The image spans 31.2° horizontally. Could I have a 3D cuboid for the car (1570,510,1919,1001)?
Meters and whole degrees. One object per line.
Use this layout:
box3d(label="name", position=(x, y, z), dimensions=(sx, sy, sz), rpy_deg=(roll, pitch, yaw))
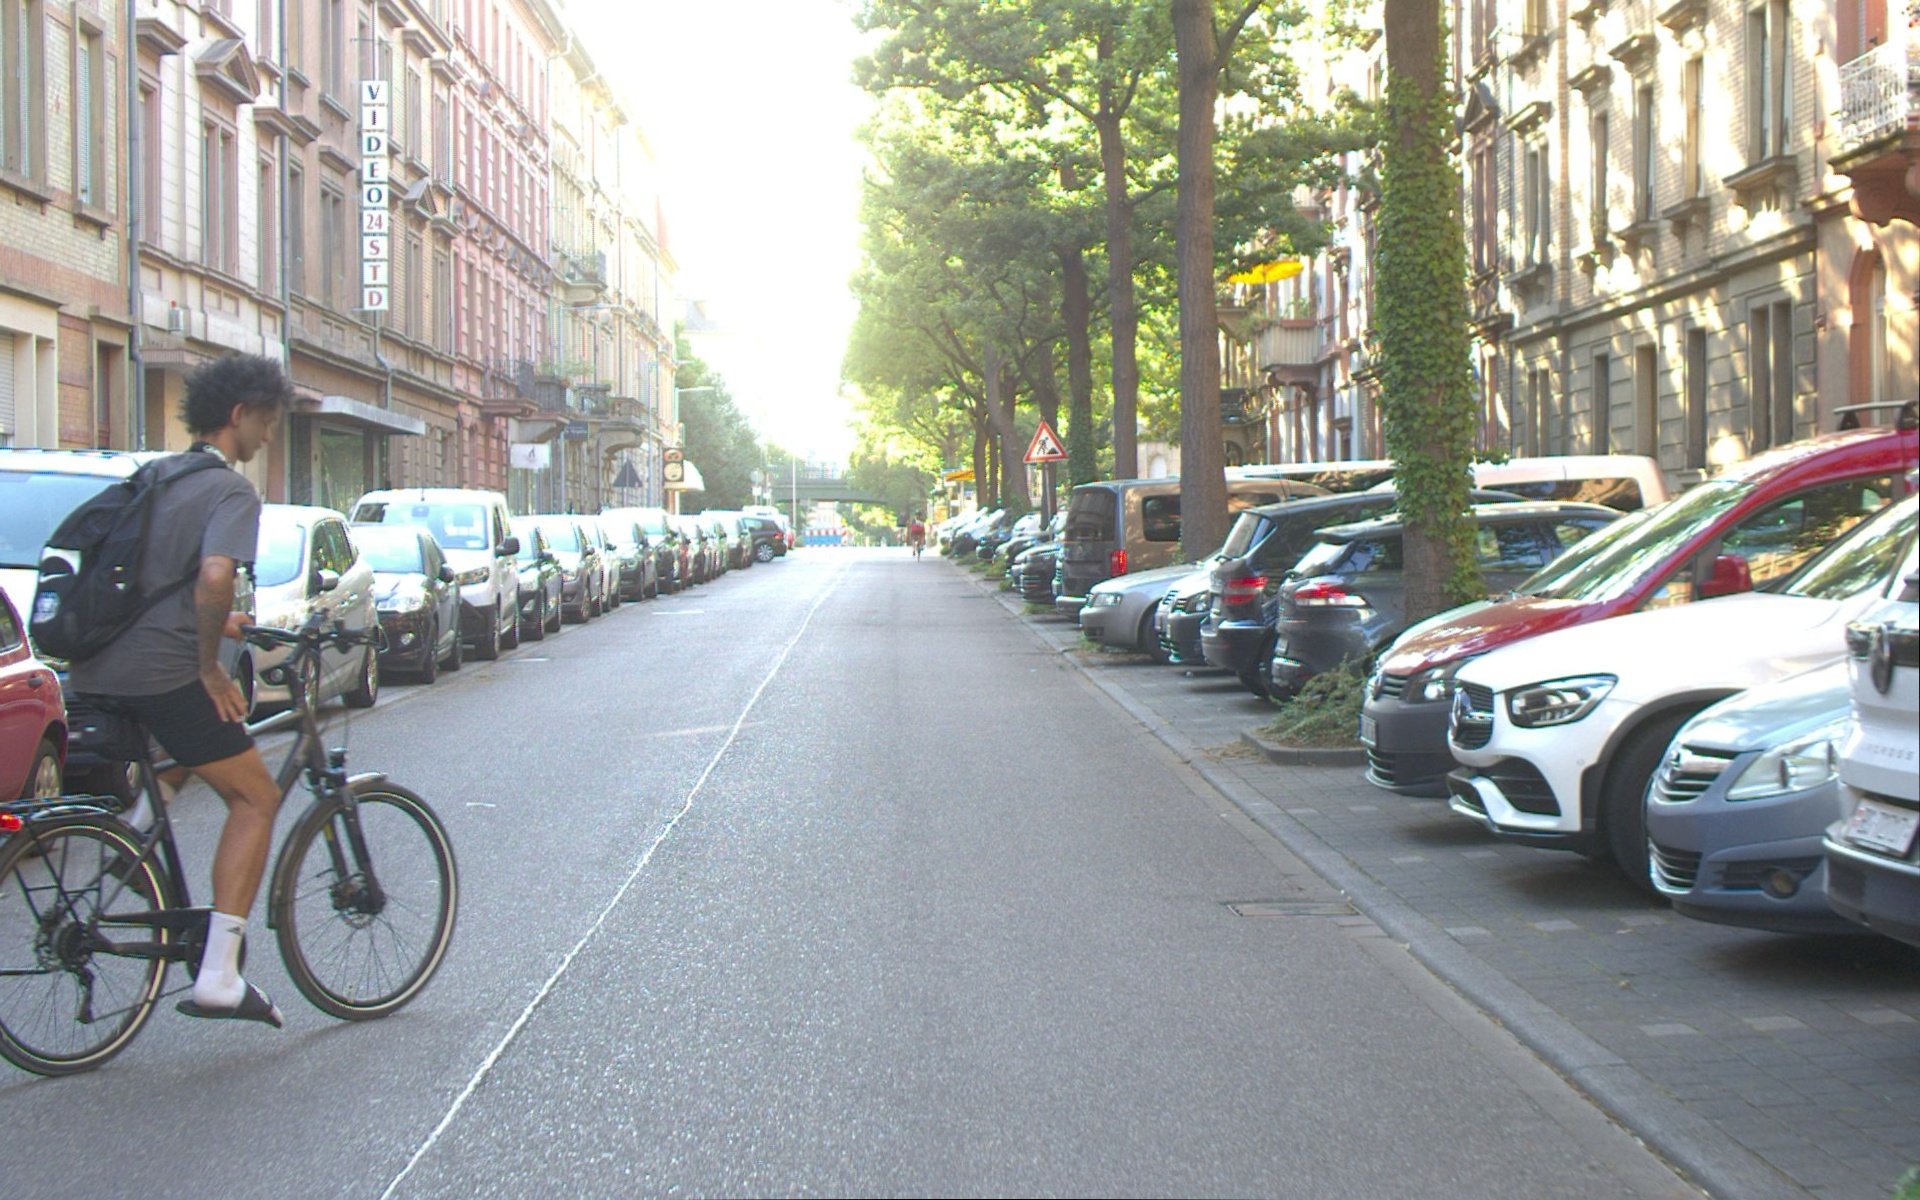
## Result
box3d(label="car", position=(4.205, 0.371, 11.240), dimensions=(4.010, 1.429, 1.795), rpy_deg=(-3, 1, -1))

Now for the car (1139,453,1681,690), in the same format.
box3d(label="car", position=(3.728, -0.259, 28.968), dimensions=(4.220, 1.770, 1.835), rpy_deg=(-2, 2, -2))

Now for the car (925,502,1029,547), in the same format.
box3d(label="car", position=(0.633, -2.875, 130.957), dimensions=(3.850, 1.568, 1.718), rpy_deg=(-2, 2, -2))

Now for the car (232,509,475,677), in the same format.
box3d(label="car", position=(-5.725, -0.113, 32.872), dimensions=(1.758, 1.462, 4.001), rpy_deg=(2, 1, -3))

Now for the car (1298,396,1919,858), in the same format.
box3d(label="car", position=(3.989, 0.028, 16.233), dimensions=(4.443, 1.917, 1.850), rpy_deg=(-3, 2, -3))

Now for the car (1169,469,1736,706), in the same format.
box3d(label="car", position=(3.701, -0.107, 26.320), dimensions=(4.010, 1.601, 1.734), rpy_deg=(-2, 1, -1))

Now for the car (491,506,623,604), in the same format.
box3d(label="car", position=(-6.267, -0.734, 53.832), dimensions=(1.758, 1.468, 4.060), rpy_deg=(-1, 2, -3))

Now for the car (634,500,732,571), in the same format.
box3d(label="car", position=(-6.207, -1.432, 77.364), dimensions=(1.993, 1.481, 4.000), rpy_deg=(-1, 0, -2))

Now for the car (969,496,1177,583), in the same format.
box3d(label="car", position=(2.237, -1.211, 68.549), dimensions=(3.849, 1.568, 1.718), rpy_deg=(-2, 2, -9))

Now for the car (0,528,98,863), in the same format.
box3d(label="car", position=(-5.036, 0.419, 14.905), dimensions=(1.592, 1.470, 3.699), rpy_deg=(1, 1, 1))

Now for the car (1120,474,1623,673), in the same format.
box3d(label="car", position=(3.748, -0.265, 31.674), dimensions=(4.220, 1.605, 1.836), rpy_deg=(-2, 2, -8))

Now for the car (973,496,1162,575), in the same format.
box3d(label="car", position=(2.354, -1.430, 75.885), dimensions=(3.849, 1.568, 1.718), rpy_deg=(-2, 2, -9))

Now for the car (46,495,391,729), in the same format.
box3d(label="car", position=(-5.589, 0.031, 26.428), dimensions=(1.753, 1.603, 4.384), rpy_deg=(1, 1, -1))

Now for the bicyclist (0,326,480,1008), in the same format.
box3d(label="bicyclist", position=(-2.169, 0.149, 9.750), dimensions=(0.998, 1.783, 1.205), rpy_deg=(1, 3, 41))

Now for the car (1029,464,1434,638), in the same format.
box3d(label="car", position=(3.132, -0.583, 39.675), dimensions=(4.220, 1.788, 1.836), rpy_deg=(-3, 2, -20))

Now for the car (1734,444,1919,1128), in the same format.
box3d(label="car", position=(4.231, 0.360, 8.787), dimensions=(4.010, 1.622, 1.805), rpy_deg=(-2, 1, -2))

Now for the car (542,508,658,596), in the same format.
box3d(label="car", position=(-6.255, -0.866, 60.085), dimensions=(1.758, 1.468, 4.060), rpy_deg=(-1, 2, -3))

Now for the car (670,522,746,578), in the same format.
box3d(label="car", position=(-7.134, -1.404, 97.491), dimensions=(1.993, 1.481, 4.000), rpy_deg=(-1, 0, -2))

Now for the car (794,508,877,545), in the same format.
box3d(label="car", position=(-6.397, -3.784, 176.681), dimensions=(3.988, 1.853, 1.751), rpy_deg=(1, 1, 7))

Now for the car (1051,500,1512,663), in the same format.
box3d(label="car", position=(3.139, -0.203, 34.043), dimensions=(4.220, 1.398, 1.835), rpy_deg=(-2, 2, -6))

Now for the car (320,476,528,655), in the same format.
box3d(label="car", position=(-5.833, -0.424, 37.884), dimensions=(1.758, 1.835, 4.530), rpy_deg=(-1, 2, -3))

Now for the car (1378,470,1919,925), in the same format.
box3d(label="car", position=(3.995, 0.271, 13.631), dimensions=(4.344, 1.551, 1.850), rpy_deg=(-3, 2, -2))

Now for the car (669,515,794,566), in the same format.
box3d(label="car", position=(-7.170, -1.853, 108.107), dimensions=(1.997, 1.481, 3.993), rpy_deg=(-1, 0, 31))

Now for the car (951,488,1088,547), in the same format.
box3d(label="car", position=(1.730, -2.428, 100.659), dimensions=(3.850, 1.568, 1.718), rpy_deg=(-2, 2, -2))

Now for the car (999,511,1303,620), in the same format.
box3d(label="car", position=(2.537, -0.484, 46.268), dimensions=(3.849, 1.289, 1.718), rpy_deg=(-2, 2, -4))

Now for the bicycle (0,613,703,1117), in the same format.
box3d(label="bicycle", position=(-2.124, 0.681, 9.777), dimensions=(0.998, 1.154, 2.916), rpy_deg=(1, 3, 40))

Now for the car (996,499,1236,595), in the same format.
box3d(label="car", position=(2.633, -0.914, 58.598), dimensions=(3.849, 1.474, 1.718), rpy_deg=(-2, 2, -4))

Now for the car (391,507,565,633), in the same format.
box3d(label="car", position=(-5.954, -0.408, 42.868), dimensions=(1.758, 1.468, 4.060), rpy_deg=(-1, 2, -3))

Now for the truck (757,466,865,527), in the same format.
box3d(label="truck", position=(-10.271, -7.110, 236.827), dimensions=(7.224, 3.936, 2.437), rpy_deg=(1, 2, -37))

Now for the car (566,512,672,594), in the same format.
box3d(label="car", position=(-6.395, -0.917, 64.849), dimensions=(1.758, 1.468, 4.060), rpy_deg=(-1, 2, -3))

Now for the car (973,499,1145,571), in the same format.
box3d(label="car", position=(2.385, -1.567, 83.110), dimensions=(3.849, 1.568, 1.718), rpy_deg=(-2, 2, -9))

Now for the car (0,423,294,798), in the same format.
box3d(label="car", position=(-5.364, -0.027, 20.500), dimensions=(1.832, 1.936, 5.261), rpy_deg=(1, 1, -1))

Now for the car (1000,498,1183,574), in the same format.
box3d(label="car", position=(2.983, -1.461, 78.300), dimensions=(3.849, 1.568, 1.718), rpy_deg=(-2, 2, -9))

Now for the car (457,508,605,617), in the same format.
box3d(label="car", position=(-6.062, -0.570, 48.967), dimensions=(1.758, 1.468, 4.060), rpy_deg=(-1, 2, -3))

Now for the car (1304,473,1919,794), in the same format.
box3d(label="car", position=(3.901, 0.131, 18.677), dimensions=(3.657, 1.450, 1.851), rpy_deg=(-3, 3, -7))

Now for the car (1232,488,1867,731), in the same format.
box3d(label="car", position=(3.996, 0.048, 23.741), dimensions=(4.010, 1.462, 1.734), rpy_deg=(-2, 1, -1))

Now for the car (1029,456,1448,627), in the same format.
box3d(label="car", position=(3.465, -0.749, 43.415), dimensions=(5.056, 1.918, 1.835), rpy_deg=(-2, 2, -1))
